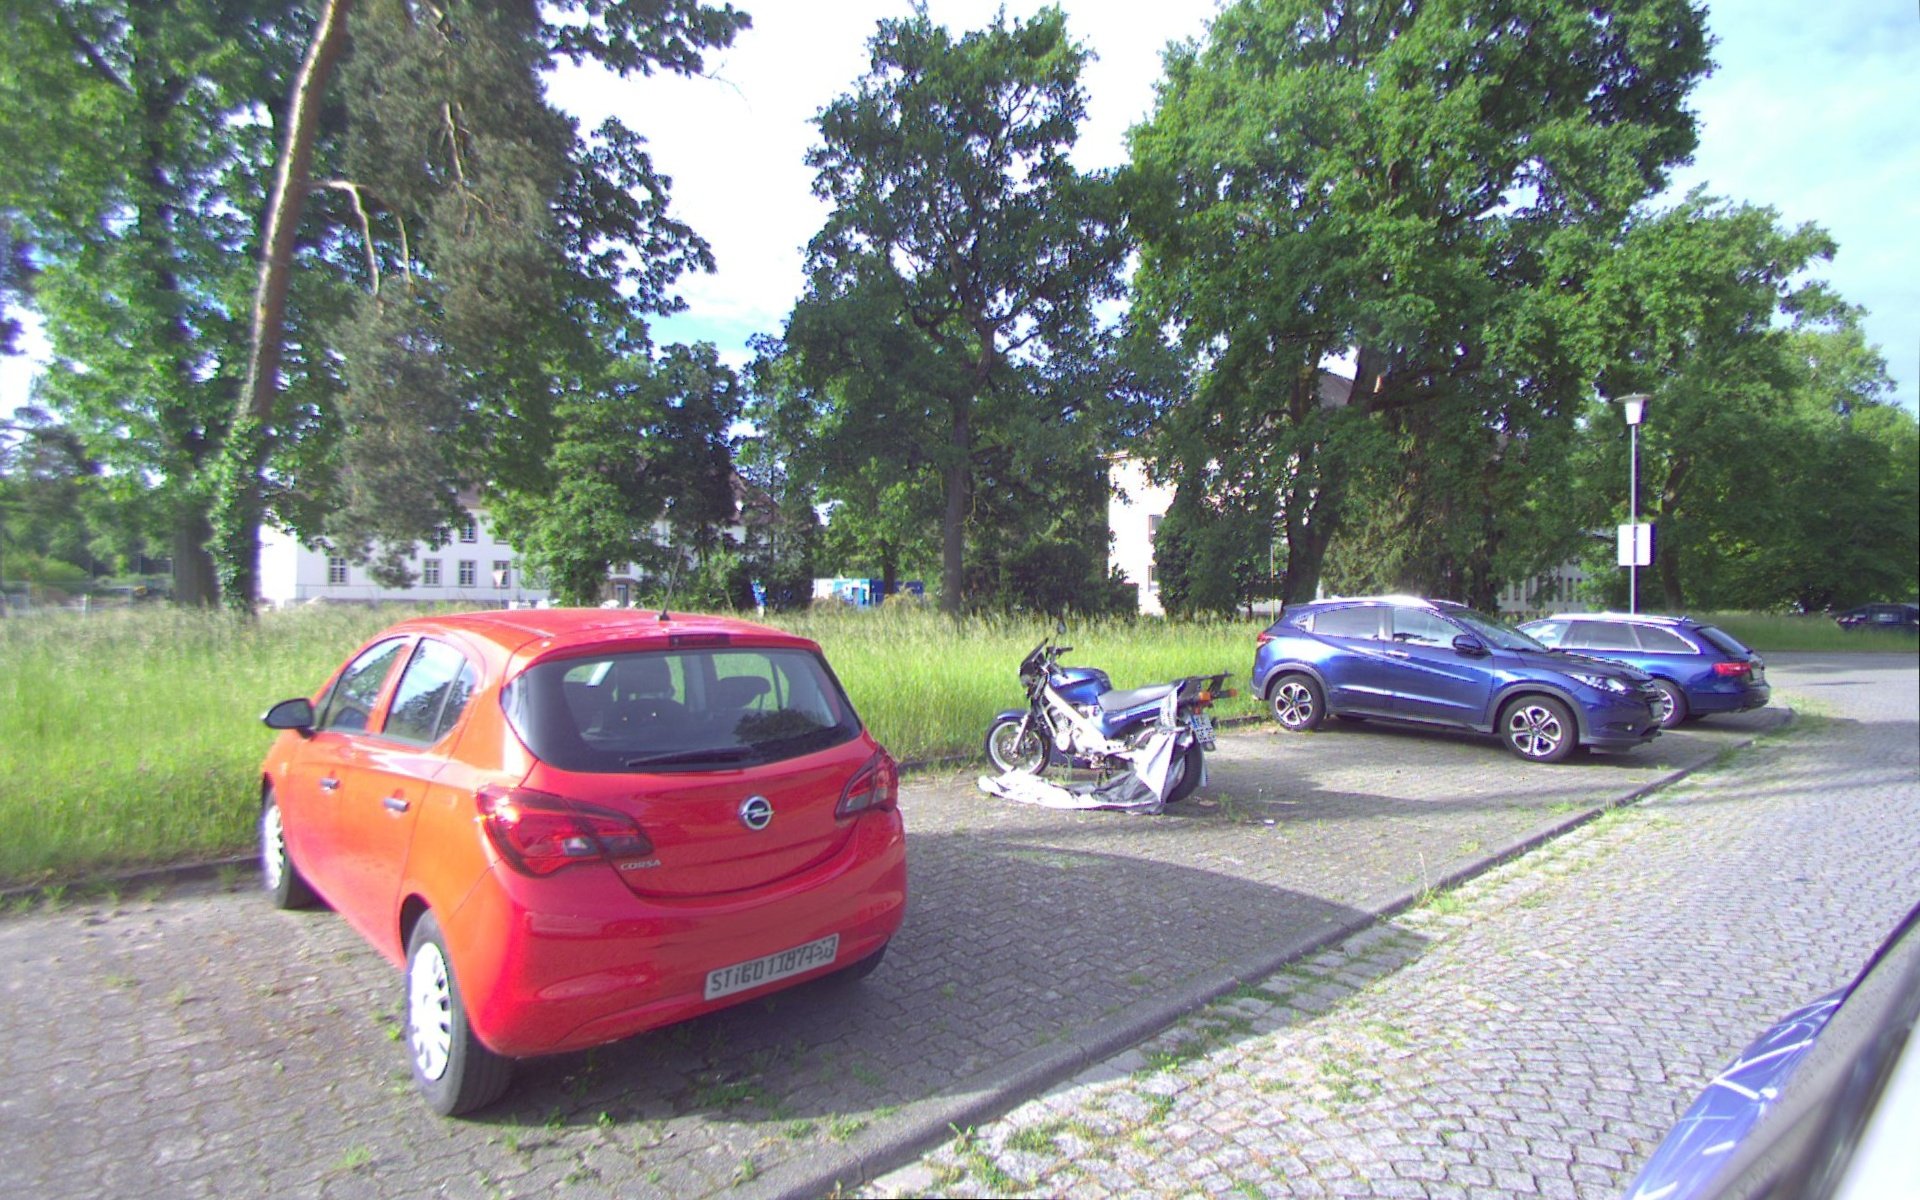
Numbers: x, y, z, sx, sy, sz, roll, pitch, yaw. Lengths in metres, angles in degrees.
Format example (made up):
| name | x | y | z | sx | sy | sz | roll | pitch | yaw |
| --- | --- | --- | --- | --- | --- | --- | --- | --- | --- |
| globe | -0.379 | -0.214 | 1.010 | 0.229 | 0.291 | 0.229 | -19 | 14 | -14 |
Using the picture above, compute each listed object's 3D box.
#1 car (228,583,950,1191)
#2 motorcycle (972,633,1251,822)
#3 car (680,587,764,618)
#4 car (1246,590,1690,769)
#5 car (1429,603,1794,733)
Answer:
| name | x | y | z | sx | sy | sz | roll | pitch | yaw |
| --- | --- | --- | --- | --- | --- | --- | --- | --- | --- |
| car | -1.967 | 0.697 | 4.550 | 1.659 | 1.491 | 3.881 | -1 | 2 | -43 |
| motorcycle | 1.081 | 0.889 | 7.847 | 0.596 | 1.127 | 2.306 | 0 | 2 | -41 |
| car | -17.976 | 0.173 | 76.528 | 5.857 | 2.328 | 2.166 | 0 | 0 | -41 |
| car | 5.504 | 0.702 | 11.365 | 1.717 | 1.588 | 4.130 | 0 | 1 | -43 |
| car | 9.049 | 0.825 | 14.329 | 1.752 | 1.469 | 4.033 | 0 | 1 | -40 |
